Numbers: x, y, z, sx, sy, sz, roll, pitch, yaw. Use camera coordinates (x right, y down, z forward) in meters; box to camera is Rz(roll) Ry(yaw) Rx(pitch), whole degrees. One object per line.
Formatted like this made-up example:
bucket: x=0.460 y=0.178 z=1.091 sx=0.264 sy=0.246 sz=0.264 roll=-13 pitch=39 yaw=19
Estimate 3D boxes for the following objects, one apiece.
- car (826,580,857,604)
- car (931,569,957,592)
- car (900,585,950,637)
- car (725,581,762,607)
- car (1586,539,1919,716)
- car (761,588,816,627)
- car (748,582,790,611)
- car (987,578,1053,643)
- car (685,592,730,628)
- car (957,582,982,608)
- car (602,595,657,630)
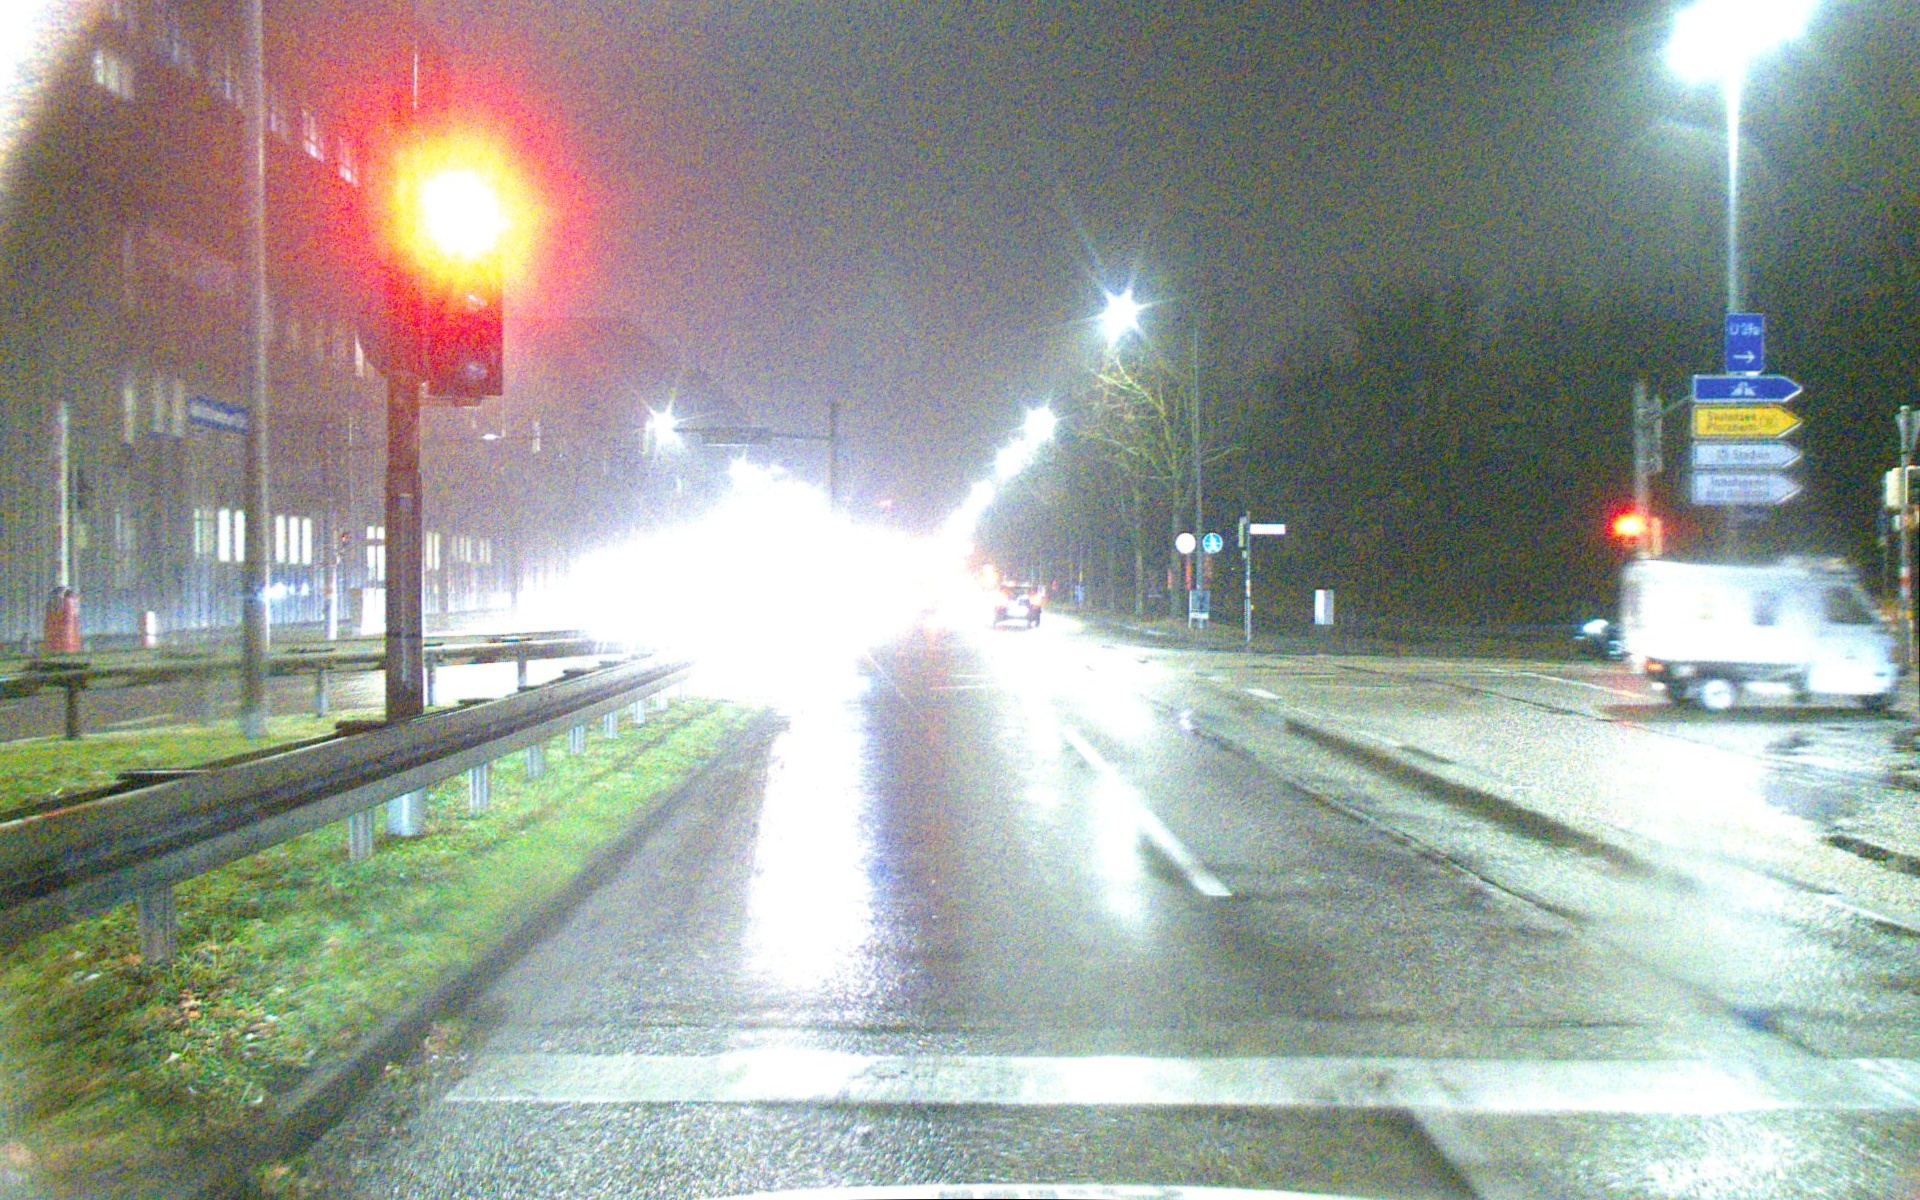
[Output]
car: x=-8.057 y=-0.501 z=112.735 sx=1.847 sy=1.579 sz=4.432 roll=0 pitch=0 yaw=-1
car: x=-1.630 y=-1.972 z=170.813 sx=2.393 sy=2.232 sz=5.075 roll=0 pitch=0 yaw=-4
car: x=-1.428 y=0.457 z=68.033 sx=1.953 sy=2.049 sz=3.999 roll=0 pitch=0 yaw=-1
car: x=-13.687 y=-0.367 z=104.868 sx=1.847 sy=1.579 sz=4.432 roll=0 pitch=0 yaw=-1
car: x=9.656 y=0.314 z=20.211 sx=3.480 sy=2.049 sz=1.705 roll=0 pitch=-1 yaw=8
car: x=-7.406 y=0.337 z=71.632 sx=1.953 sy=1.638 sz=4.969 roll=0 pitch=0 yaw=-1
car: x=-10.501 y=-0.182 z=91.308 sx=1.847 sy=1.579 sz=4.432 roll=0 pitch=0 yaw=-1
car: x=2.116 y=0.377 z=59.245 sx=2.163 sy=2.253 sz=3.642 roll=0 pitch=-1 yaw=-1
car: x=-13.090 y=0.515 z=85.852 sx=1.714 sy=1.738 sz=4.497 roll=-1 pitch=0 yaw=-2
car: x=0.783 y=-0.407 z=135.250 sx=1.996 sy=2.049 sz=4.307 roll=0 pitch=0 yaw=1
car: x=-15.113 y=0.570 z=75.910 sx=1.764 sy=1.591 sz=3.999 roll=0 pitch=0 yaw=-1
